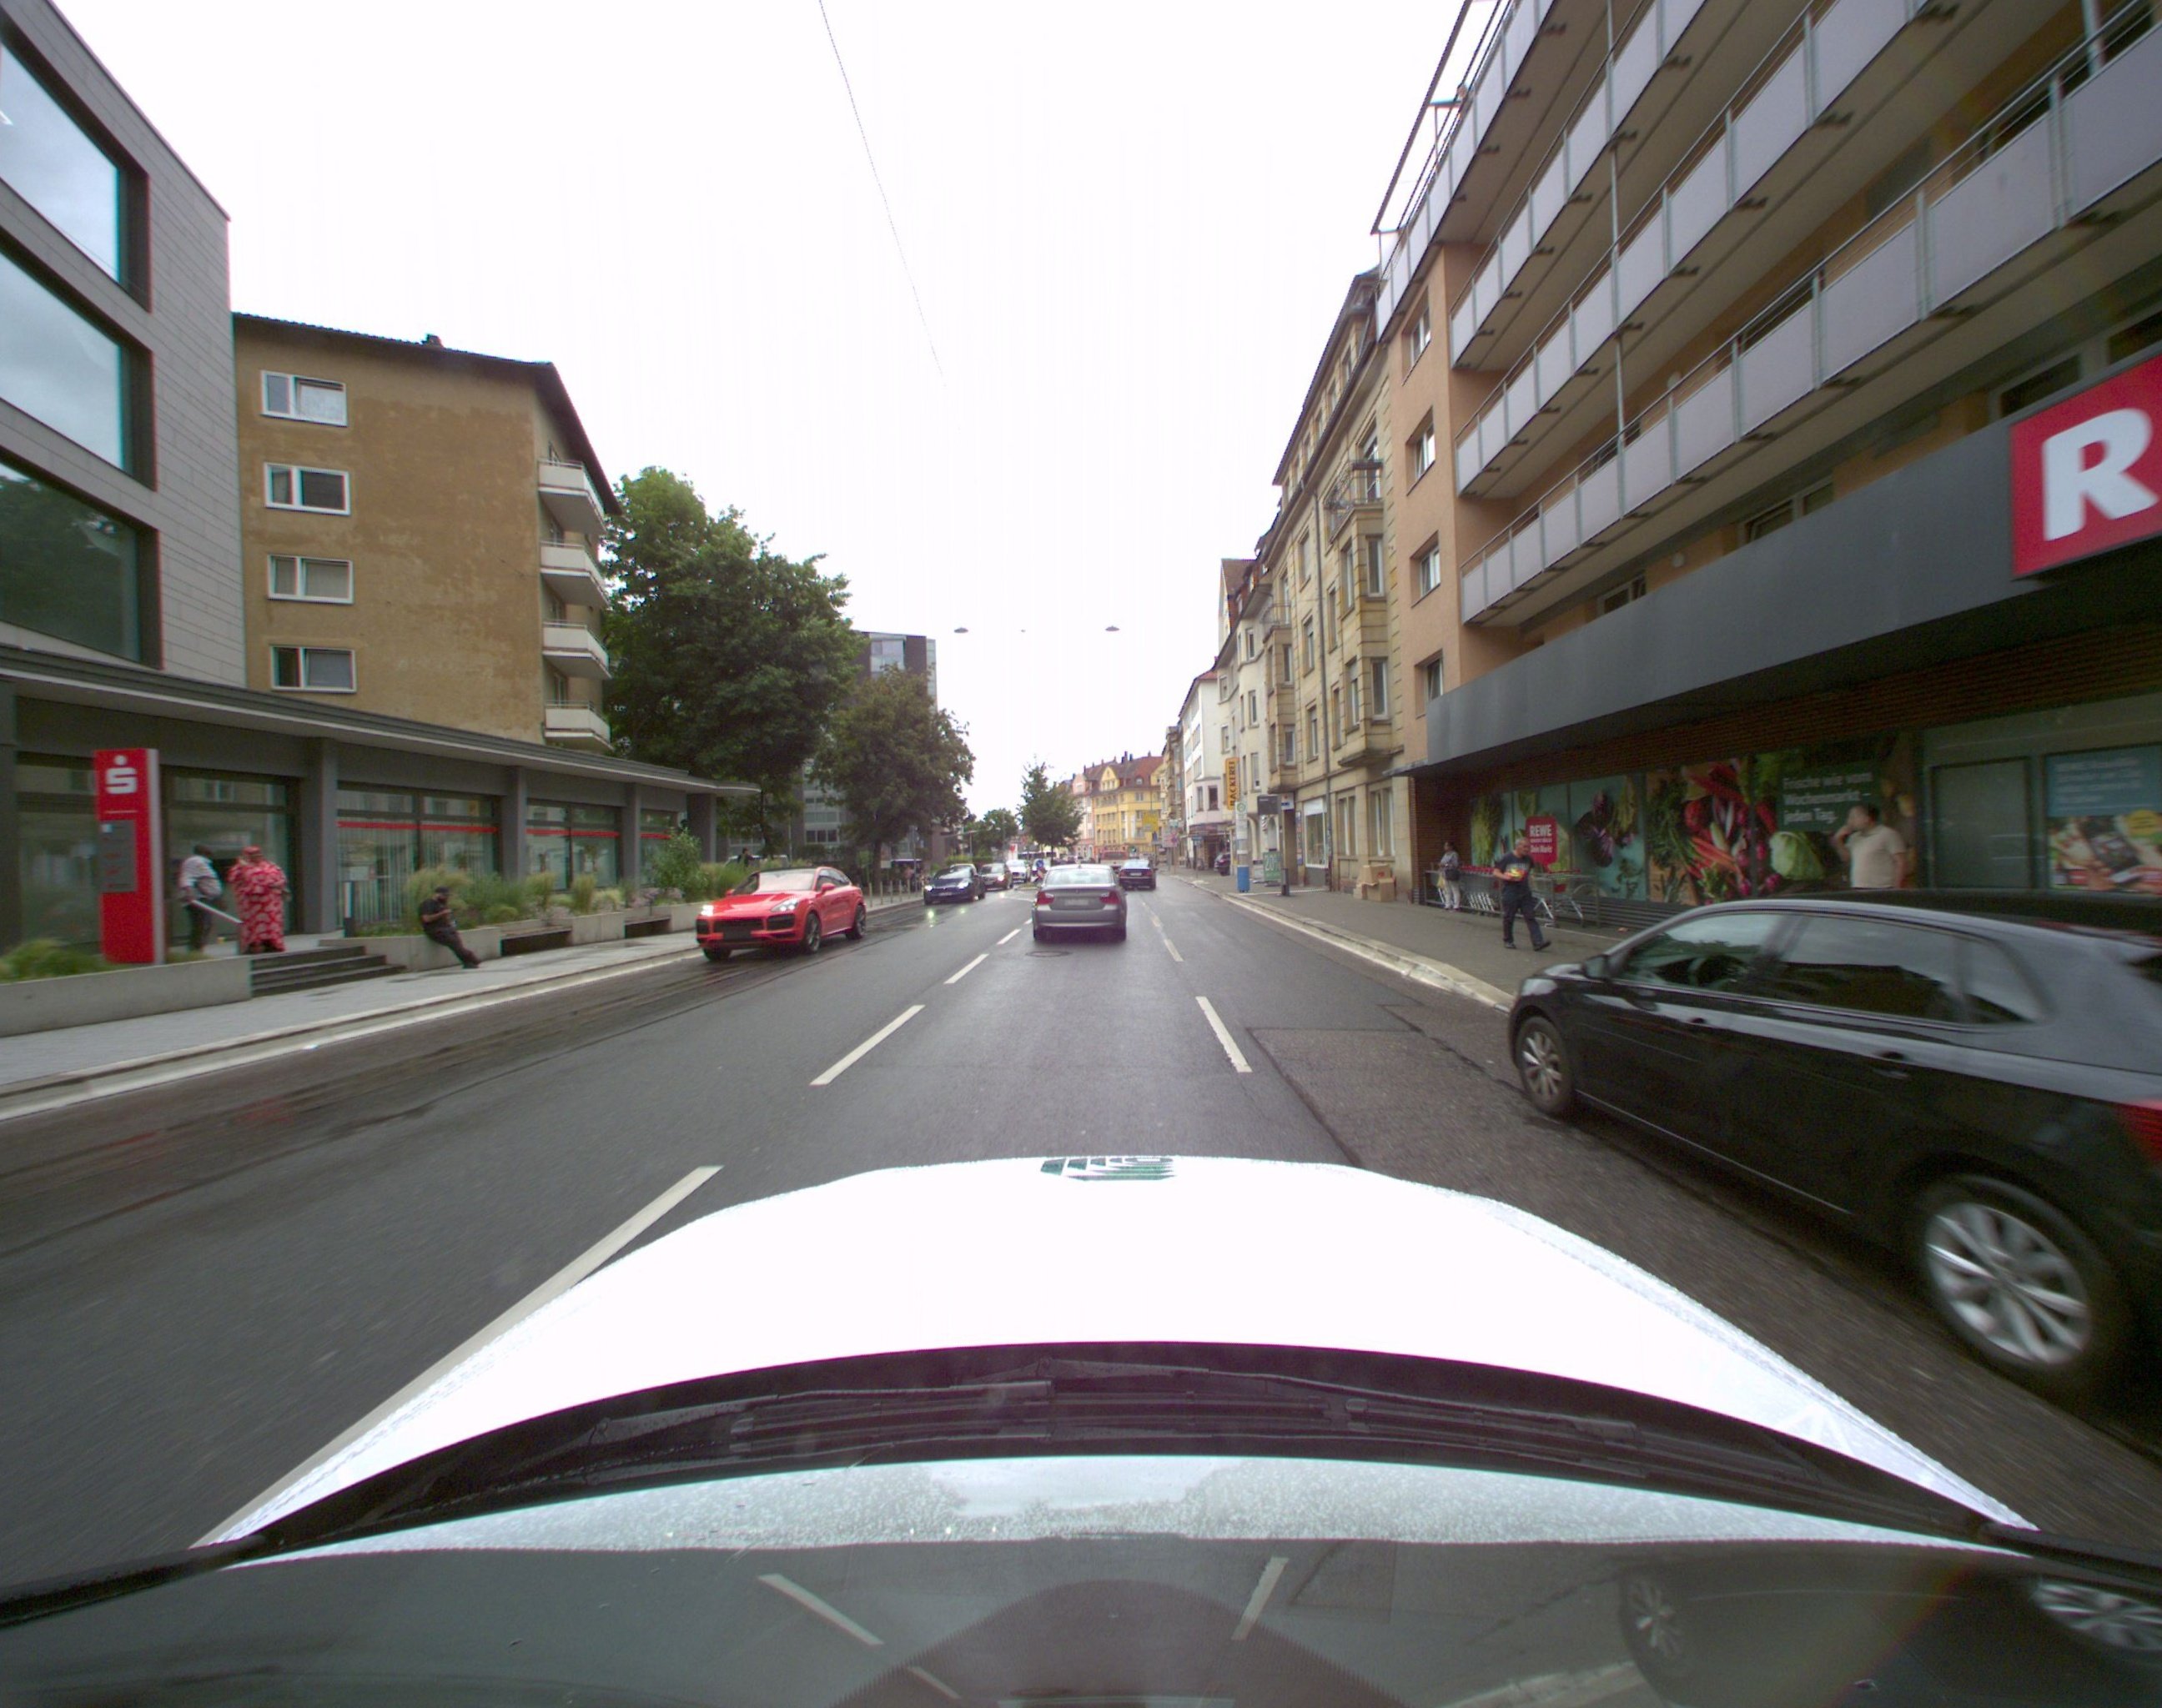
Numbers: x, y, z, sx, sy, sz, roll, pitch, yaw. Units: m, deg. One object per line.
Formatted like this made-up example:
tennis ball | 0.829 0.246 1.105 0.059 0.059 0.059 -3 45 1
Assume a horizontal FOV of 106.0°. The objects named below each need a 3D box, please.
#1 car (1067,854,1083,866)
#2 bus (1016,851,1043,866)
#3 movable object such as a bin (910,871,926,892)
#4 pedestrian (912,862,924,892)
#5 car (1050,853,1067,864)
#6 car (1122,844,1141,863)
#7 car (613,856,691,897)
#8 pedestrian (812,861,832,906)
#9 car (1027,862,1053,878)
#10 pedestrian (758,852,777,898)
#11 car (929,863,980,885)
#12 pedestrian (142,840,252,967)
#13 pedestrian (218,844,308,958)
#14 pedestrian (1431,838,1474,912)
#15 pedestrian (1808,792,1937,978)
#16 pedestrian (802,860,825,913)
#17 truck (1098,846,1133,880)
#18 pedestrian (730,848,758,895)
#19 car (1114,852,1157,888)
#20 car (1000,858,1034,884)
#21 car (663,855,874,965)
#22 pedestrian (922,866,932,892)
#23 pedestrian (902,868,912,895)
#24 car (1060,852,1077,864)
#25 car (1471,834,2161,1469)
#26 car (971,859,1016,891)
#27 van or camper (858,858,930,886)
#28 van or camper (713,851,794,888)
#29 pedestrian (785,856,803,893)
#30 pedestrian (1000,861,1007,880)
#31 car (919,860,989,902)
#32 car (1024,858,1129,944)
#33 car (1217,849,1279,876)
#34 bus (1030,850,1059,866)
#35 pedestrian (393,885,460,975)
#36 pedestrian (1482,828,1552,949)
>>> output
car | -1.190 1.209 164.389 1.769 2.180 3.969 1 -1 -23
bus | -10.952 0.951 171.969 2.921 3.105 8.805 -2 0 -22
movable object such as a bin | -8.949 1.511 44.629 0.701 1.134 0.965 0 -1 -1
pedestrian | -9.072 1.277 45.291 0.496 1.673 0.552 -1 -1 -2
car | -4.349 0.833 156.227 2.000 2.013 3.974 -2 0 -19
car | 5.826 -0.049 94.437 1.986 2.014 4.001 -1 0 1
car | -25.656 1.328 48.876 4.008 2.255 1.983 -2 0 -26
pedestrian | -10.900 1.239 34.299 0.723 1.826 0.849 -1 0 -21
car | -3.962 1.561 79.365 2.006 1.426 4.502 -1 0 2
pedestrian | -12.279 0.814 31.930 0.657 1.759 0.716 -2 -1 -21
car | -9.955 1.551 64.089 3.601 1.569 1.724 -1 0 -31
pedestrian | -12.191 0.665 11.253 0.711 1.678 0.714 -1 0 1
pedestrian | -12.536 0.693 12.490 0.704 1.678 0.805 -2 -1 30
pedestrian | 8.152 0.450 17.886 0.562 1.573 0.624 -1 0 -14
pedestrian | 8.277 0.317 8.546 0.593 1.859 0.728 -1 -1 5
pedestrian | -9.520 1.147 28.973 0.723 1.826 0.718 -1 0 -17
truck | 2.357 0.601 55.986 2.216 2.249 5.065 -1 0 2
pedestrian | -13.371 0.693 32.334 0.860 1.844 0.691 -2 -1 -13
car | 2.493 0.748 38.218 1.793 1.563 4.000 -1 -1 1
car | -4.282 1.124 54.979 1.813 1.569 4.090 -3 0 1
car | -6.002 0.997 16.489 2.098 1.764 5.062 -3 -1 2
pedestrian | -8.556 1.380 45.299 0.432 1.410 0.481 -1 -1 -2
pedestrian | -9.659 1.549 45.214 0.458 1.473 0.530 -1 -1 -1
car | -2.263 0.779 150.512 2.000 2.013 3.974 -2 0 -19
car | 3.575 0.709 3.831 1.723 1.547 3.984 0 0 2
car | -4.816 1.123 45.185 1.948 1.557 4.243 -2 0 0
van or camper | -14.143 1.343 61.779 4.979 2.014 1.982 -1 0 -28
van or camper | -20.936 0.951 52.113 4.628 2.266 2.192 1 0 -27
pedestrian | -14.529 1.031 41.217 0.725 1.826 0.716 -1 0 -26
pedestrian | -7.089 1.485 74.359 0.573 1.762 0.580 -2 0 -4
car | -5.224 1.068 34.110 1.948 1.512 4.914 -3 0 1
car | -0.034 0.869 16.417 1.793 1.464 4.371 -1 -2 1
car | 11.536 0.581 56.445 4.114 1.772 1.878 -1 0 8
bus | -7.456 0.845 163.713 2.921 3.105 9.074 -2 0 -22
pedestrian | -10.882 1.237 13.549 0.584 1.420 0.730 -2 -1 37
pedestrian | 6.188 0.461 11.586 0.622 1.651 0.750 -1 2 4
